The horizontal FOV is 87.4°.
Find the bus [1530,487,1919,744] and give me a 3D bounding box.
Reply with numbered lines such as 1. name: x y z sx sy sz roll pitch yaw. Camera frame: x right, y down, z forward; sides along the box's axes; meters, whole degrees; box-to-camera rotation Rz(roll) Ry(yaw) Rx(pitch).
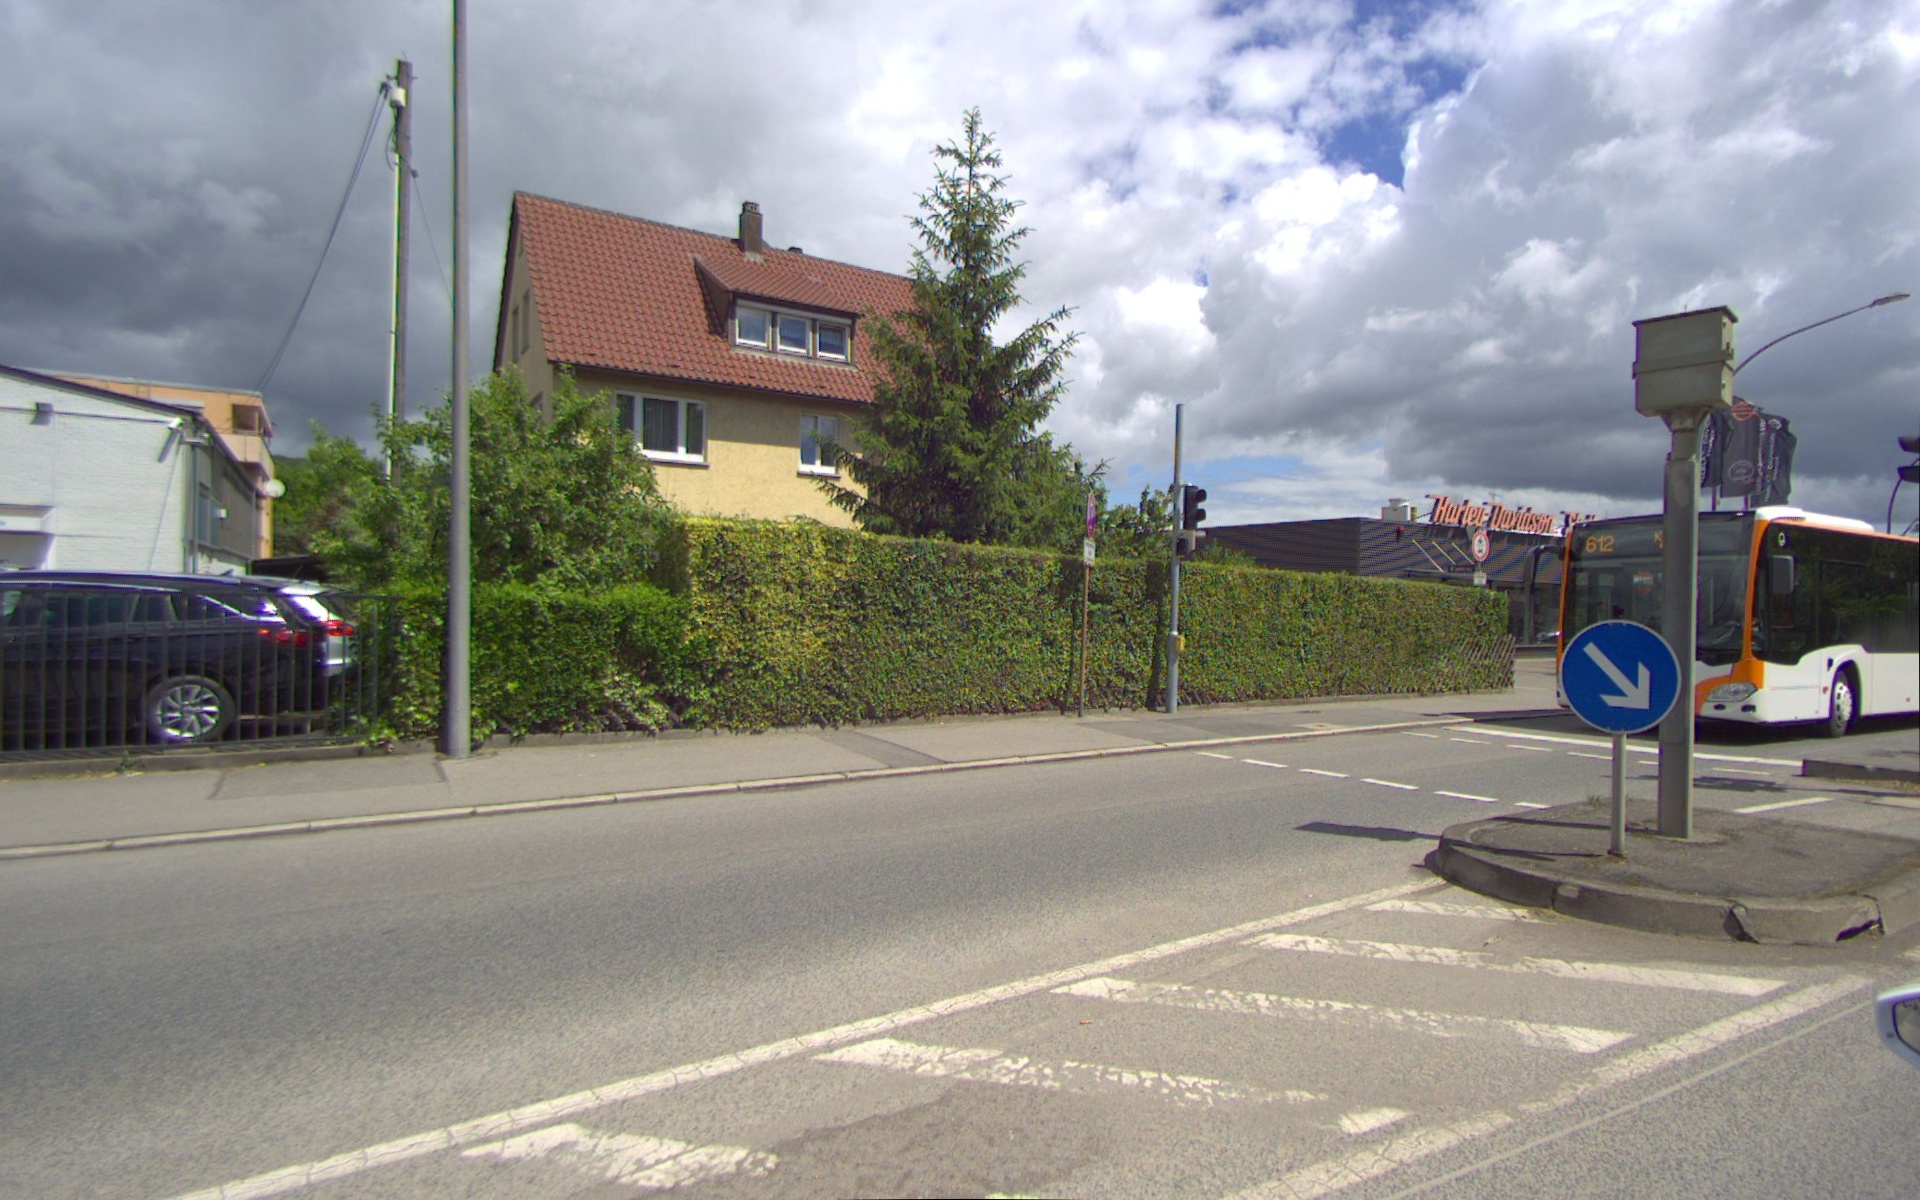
1. bus: 14.057 0.369 16.282 12.123 3.071 2.706 2 -1 -31

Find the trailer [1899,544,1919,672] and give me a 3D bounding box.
1. trailer: 37.113 0.466 36.297 15.429 4.107 2.775 2 0 -40

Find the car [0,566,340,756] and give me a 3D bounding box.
1. car: -7.856 0.480 8.849 3.997 1.502 1.850 2 0 -31

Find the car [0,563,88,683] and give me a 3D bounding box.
1. car: -17.987 0.348 17.417 3.953 2.040 1.984 2 0 -30

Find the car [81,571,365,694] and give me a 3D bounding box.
1. car: -13.323 0.589 18.521 3.953 2.040 1.984 2 0 -30

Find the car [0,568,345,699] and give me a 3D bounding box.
1. car: -10.724 0.436 13.624 3.953 1.569 1.984 2 0 -30

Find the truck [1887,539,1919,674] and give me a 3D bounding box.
1. truck: 31.967 0.289 31.960 6.448 4.107 2.775 2 0 -40

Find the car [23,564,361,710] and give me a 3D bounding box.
1. car: -11.827 0.563 15.878 3.953 2.040 1.984 2 0 -30

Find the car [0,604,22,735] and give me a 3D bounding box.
1. car: -16.710 1.042 14.693 3.953 2.040 1.984 2 0 -30

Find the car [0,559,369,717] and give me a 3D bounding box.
1. car: -9.017 0.397 11.352 3.953 1.561 1.984 2 0 -30
